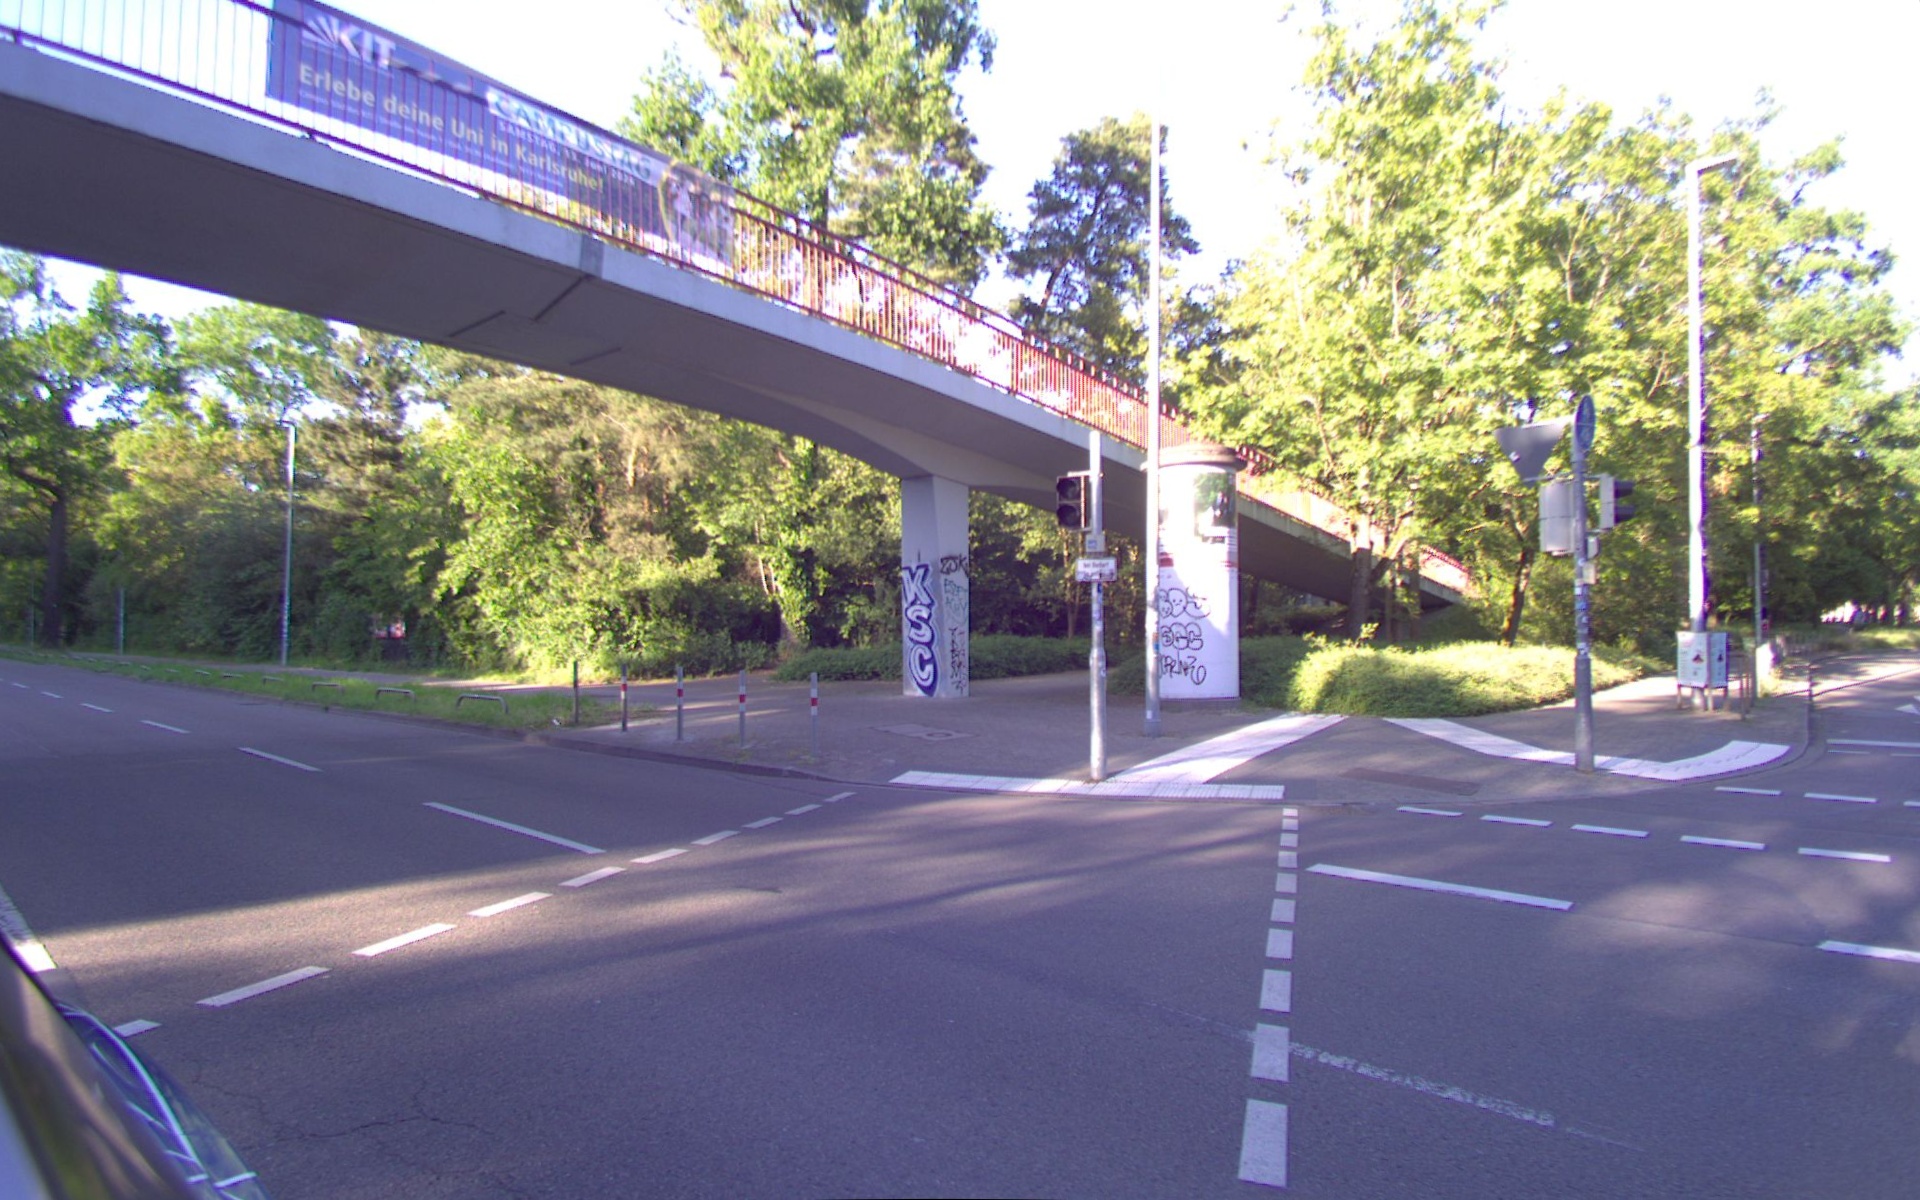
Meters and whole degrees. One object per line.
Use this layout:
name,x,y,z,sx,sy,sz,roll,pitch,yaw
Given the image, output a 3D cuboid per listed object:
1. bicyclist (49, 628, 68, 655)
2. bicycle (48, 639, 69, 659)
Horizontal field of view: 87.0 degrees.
bicyclist,-54.909,2.508,61.625,1.142,1.570,0.705,-1,0,41
bicycle,-54.899,2.991,61.625,1.992,1.156,0.705,-1,0,41
